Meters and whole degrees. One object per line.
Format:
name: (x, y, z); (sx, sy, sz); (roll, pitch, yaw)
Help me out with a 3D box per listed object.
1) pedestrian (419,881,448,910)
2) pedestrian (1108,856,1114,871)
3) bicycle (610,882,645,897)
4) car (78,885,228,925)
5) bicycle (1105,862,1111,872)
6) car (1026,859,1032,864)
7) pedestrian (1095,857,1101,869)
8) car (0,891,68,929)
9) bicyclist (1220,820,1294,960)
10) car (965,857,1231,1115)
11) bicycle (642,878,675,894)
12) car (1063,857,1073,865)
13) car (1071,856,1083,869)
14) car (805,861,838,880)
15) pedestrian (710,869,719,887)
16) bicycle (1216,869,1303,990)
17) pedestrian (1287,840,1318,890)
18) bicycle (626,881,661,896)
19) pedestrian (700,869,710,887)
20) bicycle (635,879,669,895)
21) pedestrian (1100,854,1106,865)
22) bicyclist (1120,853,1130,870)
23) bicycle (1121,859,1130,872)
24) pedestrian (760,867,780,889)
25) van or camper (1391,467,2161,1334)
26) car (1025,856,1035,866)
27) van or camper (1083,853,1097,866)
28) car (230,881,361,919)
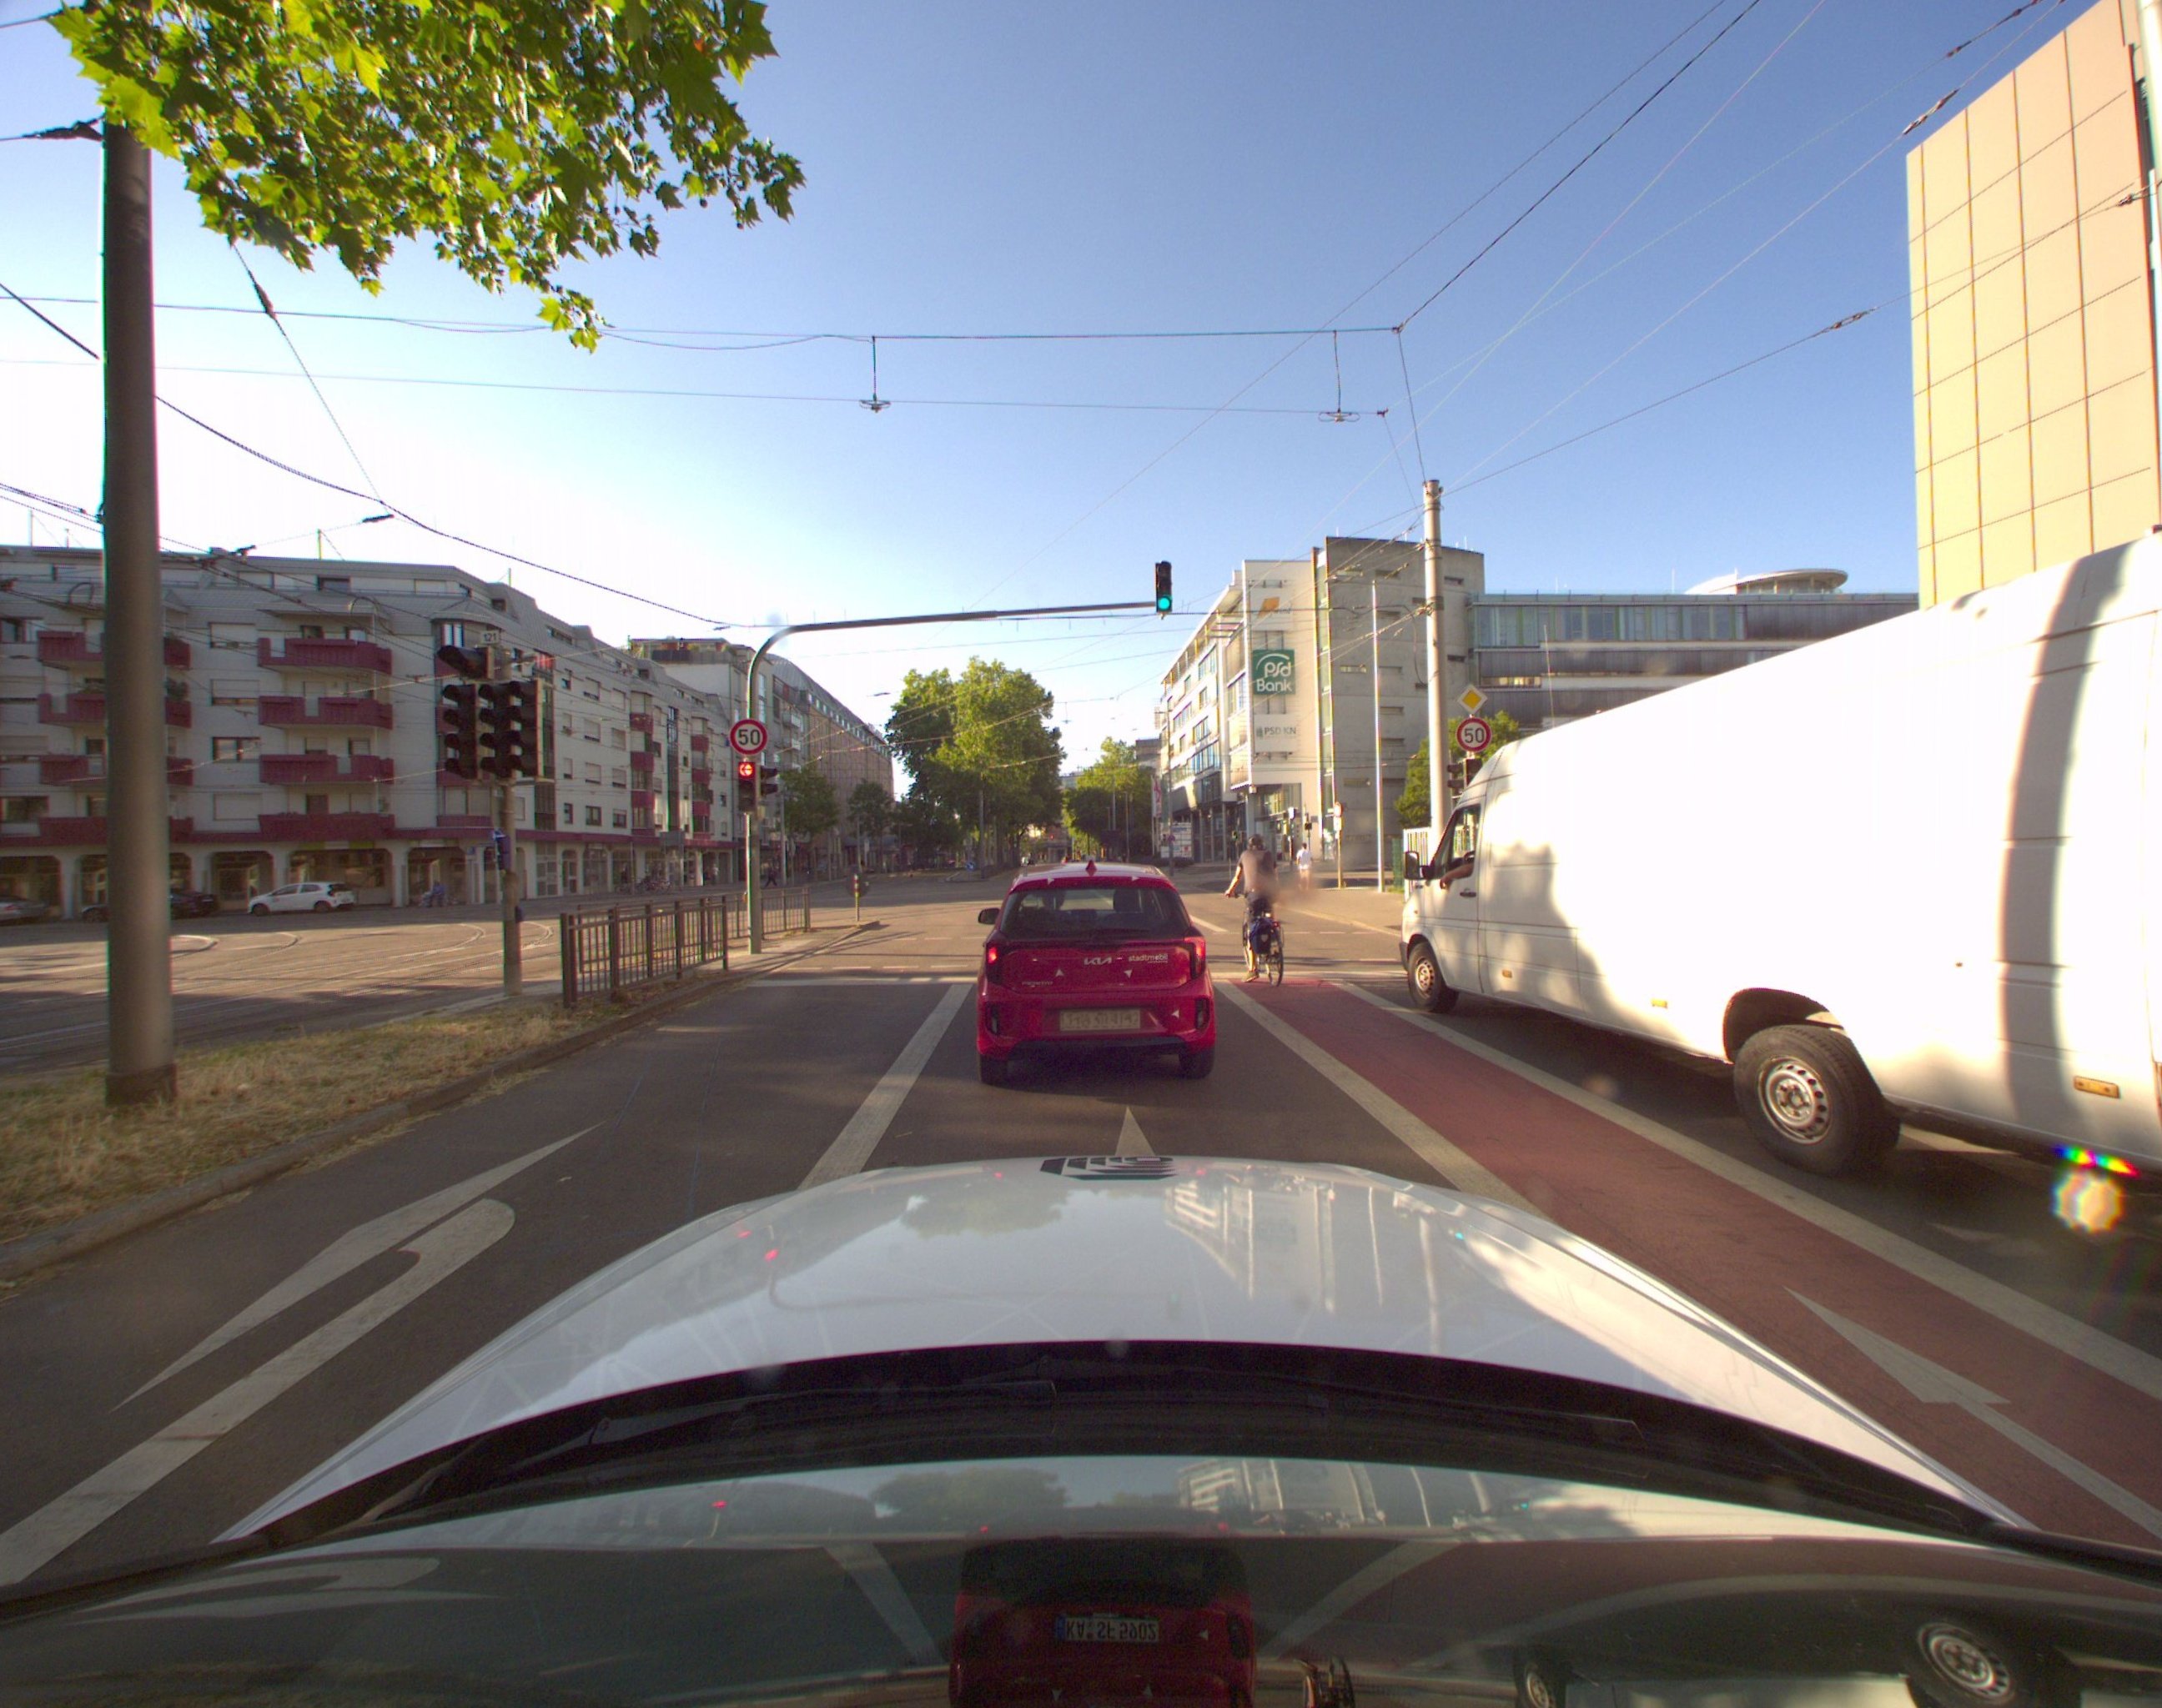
pedestrian: (-32.500, 2.098, 40.893); (0.857, 1.384, 0.833); (-2, 0, -14)
pedestrian: (3.432, 1.079, 93.326); (0.644, 1.680, 0.651); (-2, 0, 0)
bicycle: (-28.261, 2.198, 50.790); (1.837, 0.854, 0.553); (-2, 0, -1)
car: (-42.424, 2.307, 37.347); (4.112, 1.555, 1.992); (-2, 0, -12)
bicycle: (3.071, 1.459, 93.265); (0.518, 0.975, 2.203); (-5, 0, 2)
car: (-16.309, 2.282, 256.521); (1.776, 1.535, 3.403); (-1, 0, -8)
pedestrian: (2.276, 1.241, 110.540); (0.639, 1.579, 0.724); (-5, 0, 2)
car: (-48.599, 2.529, 35.948); (4.572, 1.555, 1.992); (-2, 0, -12)
bicyclist: (2.140, 0.416, 10.002); (0.647, 1.603, 1.089); (-2, 0, 2)
car: (0.033, 0.804, 6.683); (1.609, 1.535, 3.408); (-1, 0, -3)
bicycle: (-27.707, 2.102, 53.435); (1.840, 0.985, 0.552); (-2, 0, -6)
car: (-2.762, 1.528, 175.306); (1.776, 1.535, 3.503); (-1, 0, -8)
car: (-0.624, 1.225, 120.244); (1.631, 1.800, 3.328); (-2, 0, -1)
car: (-24.479, 1.540, 77.019); (1.951, 1.672, 4.255); (-2, 0, -4)
pedestrian: (-31.164, 2.062, 69.229); (0.533, 1.494, 0.586); (-2, 0, -6)
bicycle: (2.135, 0.849, 9.985); (0.647, 1.281, 1.967); (-2, 0, 2)
pedestrian: (8.285, 0.412, 30.489); (0.774, 1.823, 1.216); (-2, 0, 2)
bicycle: (-27.700, 2.168, 51.552); (1.837, 0.854, 0.553); (-2, 0, -1)
pedestrian: (-31.925, 2.067, 69.105); (0.533, 1.494, 0.586); (-2, 0, -6)
bicycle: (-27.793, 2.137, 52.821); (1.840, 0.985, 0.552); (-2, 0, -6)
pedestrian: (3.566, 0.938, 133.745); (0.888, 1.753, 0.841); (-2, 0, 1)
bicyclist: (4.326, 0.743, 80.279); (0.720, 1.603, 1.088); (-4, 0, -1)
bicycle: (4.375, 1.132, 80.311); (0.694, 1.098, 1.750); (-5, 0, -1)
pedestrian: (-22.336, 1.695, 58.506); (1.039, 1.544, 0.696); (-2, 0, 11)
van or camper: (4.309, 0.144, 5.425); (1.963, 2.716, 6.301); (-1, 0, -1)
car: (-11.091, 1.557, 176.123); (1.991, 2.013, 3.992); (-2, 0, -6)
van or camper: (1.456, 0.877, 132.474); (1.988, 1.989, 4.741); (-1, 0, -2)
car: (-37.168, 2.161, 38.650); (3.989, 1.555, 1.992); (-2, 0, -12)
